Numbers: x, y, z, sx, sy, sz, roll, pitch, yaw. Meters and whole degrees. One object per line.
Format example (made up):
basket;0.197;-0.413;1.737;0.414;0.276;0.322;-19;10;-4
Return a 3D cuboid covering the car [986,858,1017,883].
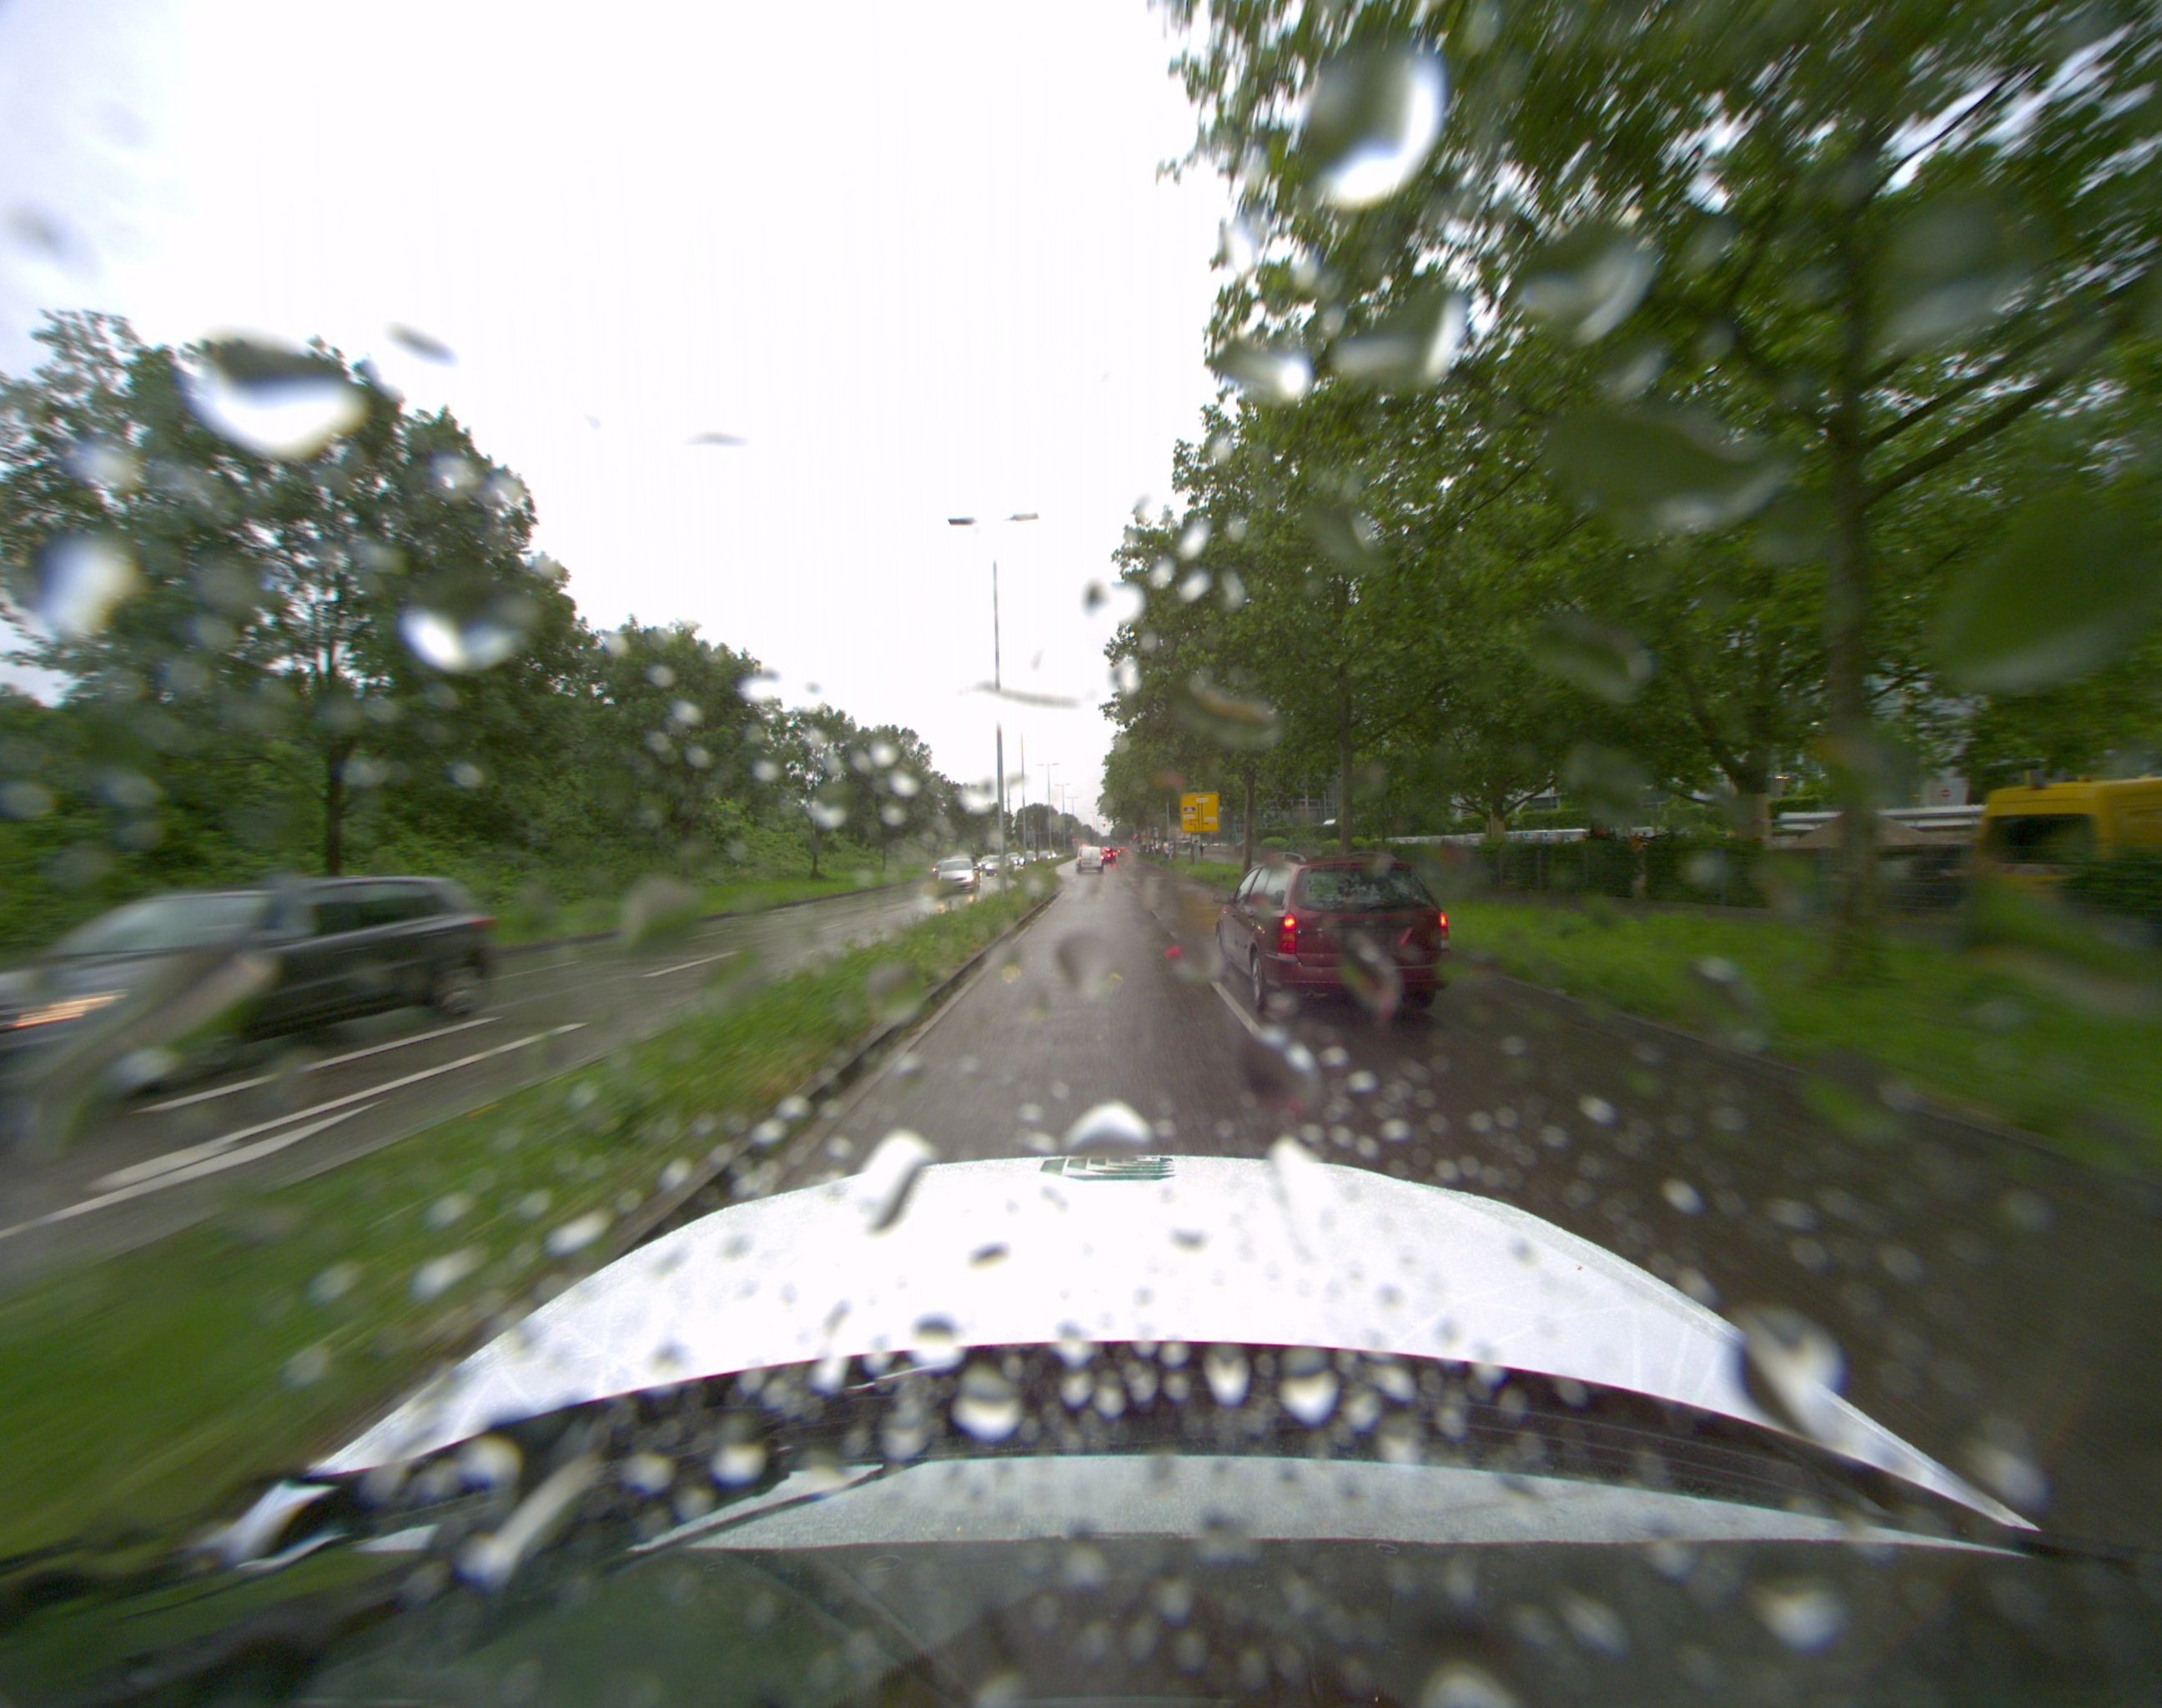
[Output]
car;-5.829;1.163;60.142;1.904;1.574;4.703;-4;0;-3

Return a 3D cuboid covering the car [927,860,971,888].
car;-9.022;1.337;56.163;1.986;1.687;4.711;-3;0;2

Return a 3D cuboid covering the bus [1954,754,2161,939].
bus;17.185;-0.162;12.749;4.773;2.647;2.001;-1;0;2

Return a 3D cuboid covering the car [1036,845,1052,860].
car;-4.790;-0.224;105.841;1.817;1.574;4.363;1;4;2

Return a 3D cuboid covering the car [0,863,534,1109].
car;-7.706;0.994;7.802;1.891;1.613;4.114;-4;0;3

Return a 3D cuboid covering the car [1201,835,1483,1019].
car;2.517;0.615;8.967;1.833;1.536;4.112;-1;0;1

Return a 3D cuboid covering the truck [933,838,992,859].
truck;-20.664;-0.972;142.306;10.184;3.452;2.629;0;-1;-35

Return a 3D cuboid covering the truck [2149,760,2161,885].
truck;30.919;-0.825;21.355;9.540;3.032;3.048;0;-1;-35

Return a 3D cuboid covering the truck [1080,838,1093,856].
truck;0.800;-0.948;116.436;1.751;2.466;4.000;-1;0;0

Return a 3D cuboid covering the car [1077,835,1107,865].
car;0.757;-0.235;57.149;1.987;2.014;3.999;-1;-1;0

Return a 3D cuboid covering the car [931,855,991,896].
car;-5.212;0.904;35.937;1.892;1.613;4.112;-3;0;1

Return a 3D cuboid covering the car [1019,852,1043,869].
car;-5.267;0.672;85.978;1.901;1.574;4.711;-5;0;2

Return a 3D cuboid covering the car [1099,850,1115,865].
car;2.969;0.363;94.642;1.703;1.549;4.000;-1;1;0

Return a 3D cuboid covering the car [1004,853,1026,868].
car;-7.803;0.758;97.020;1.901;1.574;4.711;-5;0;2

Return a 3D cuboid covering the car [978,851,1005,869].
car;-8.420;0.519;76.726;1.828;1.502;4.442;-3;0;2

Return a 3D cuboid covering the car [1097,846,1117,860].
car;2.773;-0.105;88.102;1.987;1.452;4.000;-1;0;0
